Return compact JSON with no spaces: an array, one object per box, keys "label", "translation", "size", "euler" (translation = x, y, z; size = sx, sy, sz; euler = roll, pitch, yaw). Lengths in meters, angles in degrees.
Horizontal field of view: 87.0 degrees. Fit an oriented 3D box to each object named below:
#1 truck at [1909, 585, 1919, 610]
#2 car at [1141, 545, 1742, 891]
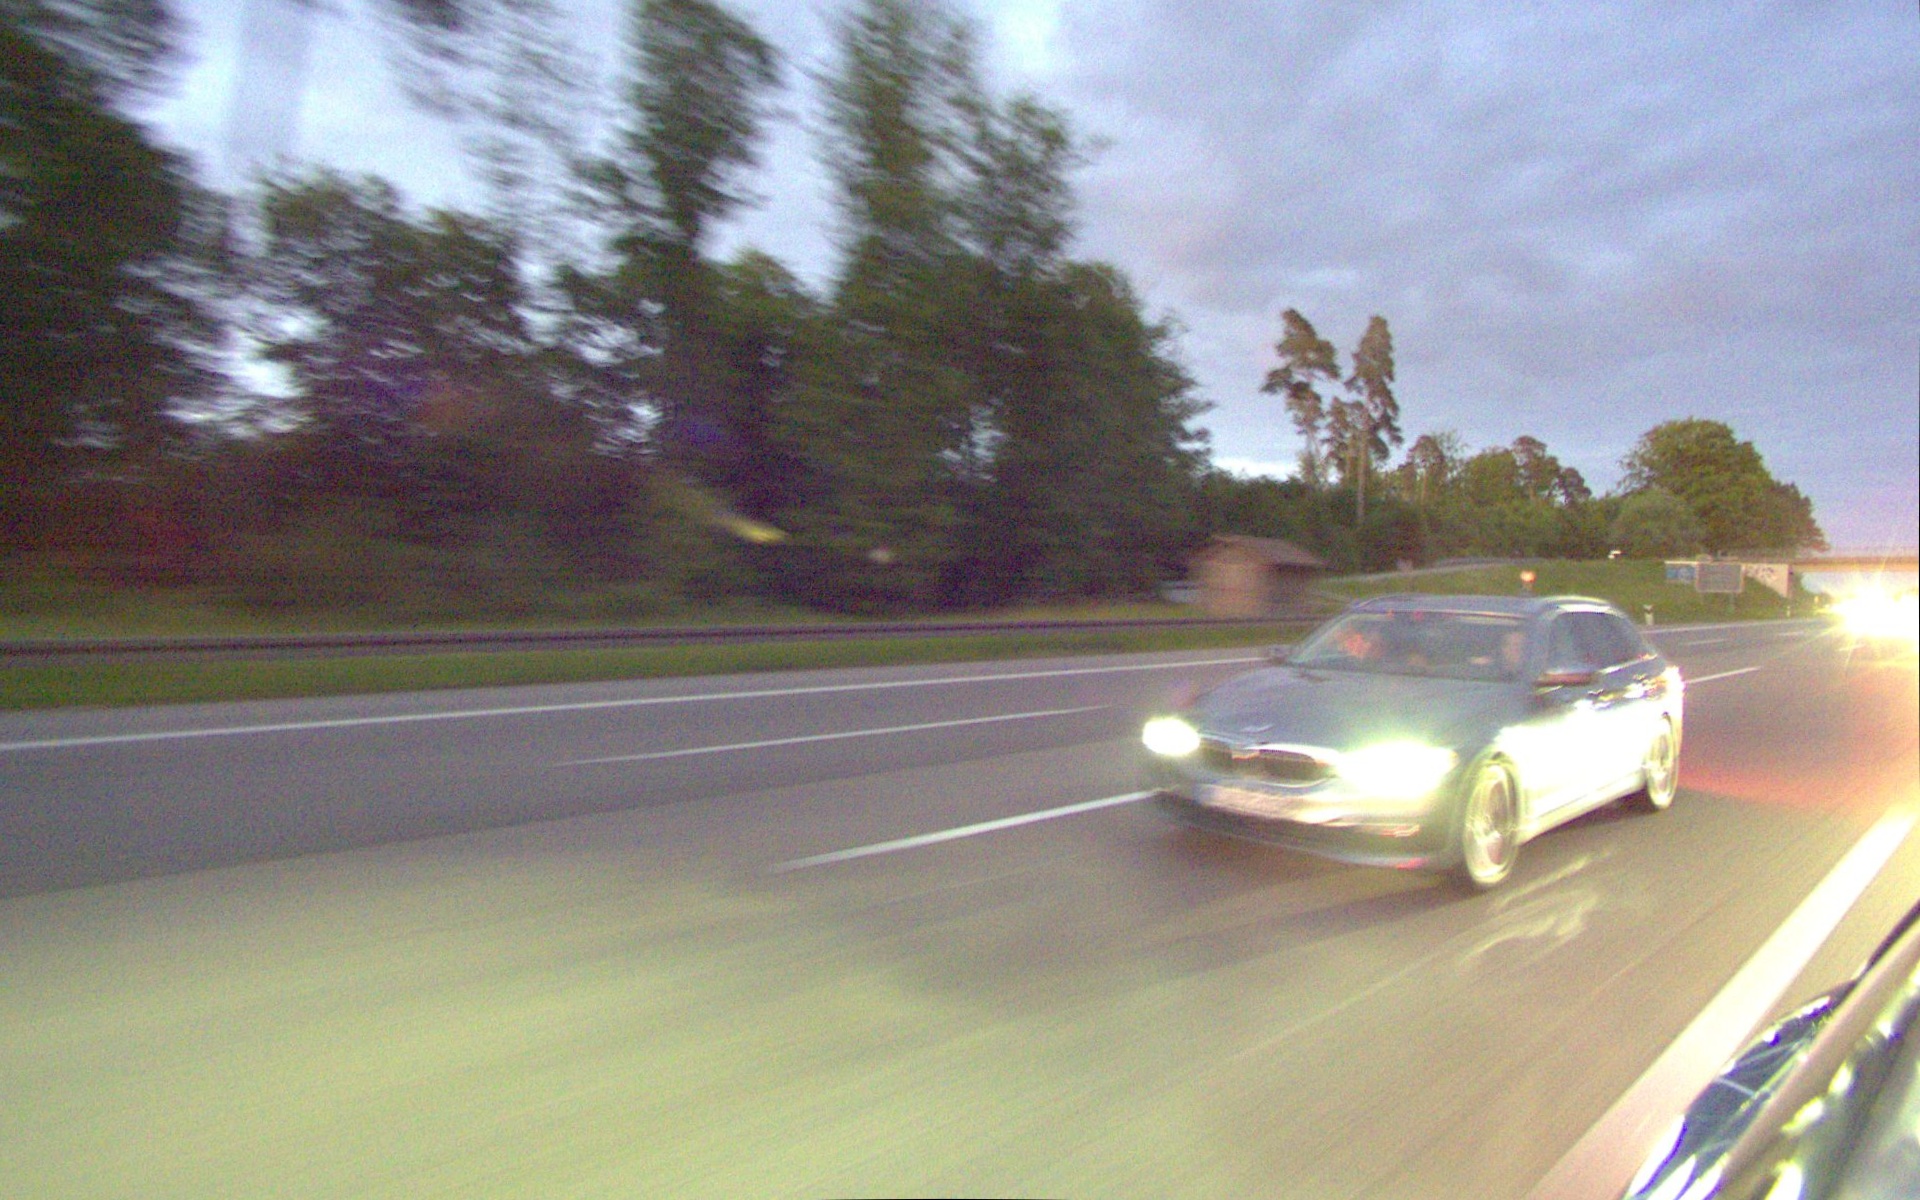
[{"label":"truck","translation":[167.562,-0.342,175.920],"size":[3.133,4.061,10.390],"euler":[1,0,40]},{"label":"car","translation":[3.632,0.564,7.006],"size":[5.140,1.556,1.912],"euler":[2,0,-42]}]
